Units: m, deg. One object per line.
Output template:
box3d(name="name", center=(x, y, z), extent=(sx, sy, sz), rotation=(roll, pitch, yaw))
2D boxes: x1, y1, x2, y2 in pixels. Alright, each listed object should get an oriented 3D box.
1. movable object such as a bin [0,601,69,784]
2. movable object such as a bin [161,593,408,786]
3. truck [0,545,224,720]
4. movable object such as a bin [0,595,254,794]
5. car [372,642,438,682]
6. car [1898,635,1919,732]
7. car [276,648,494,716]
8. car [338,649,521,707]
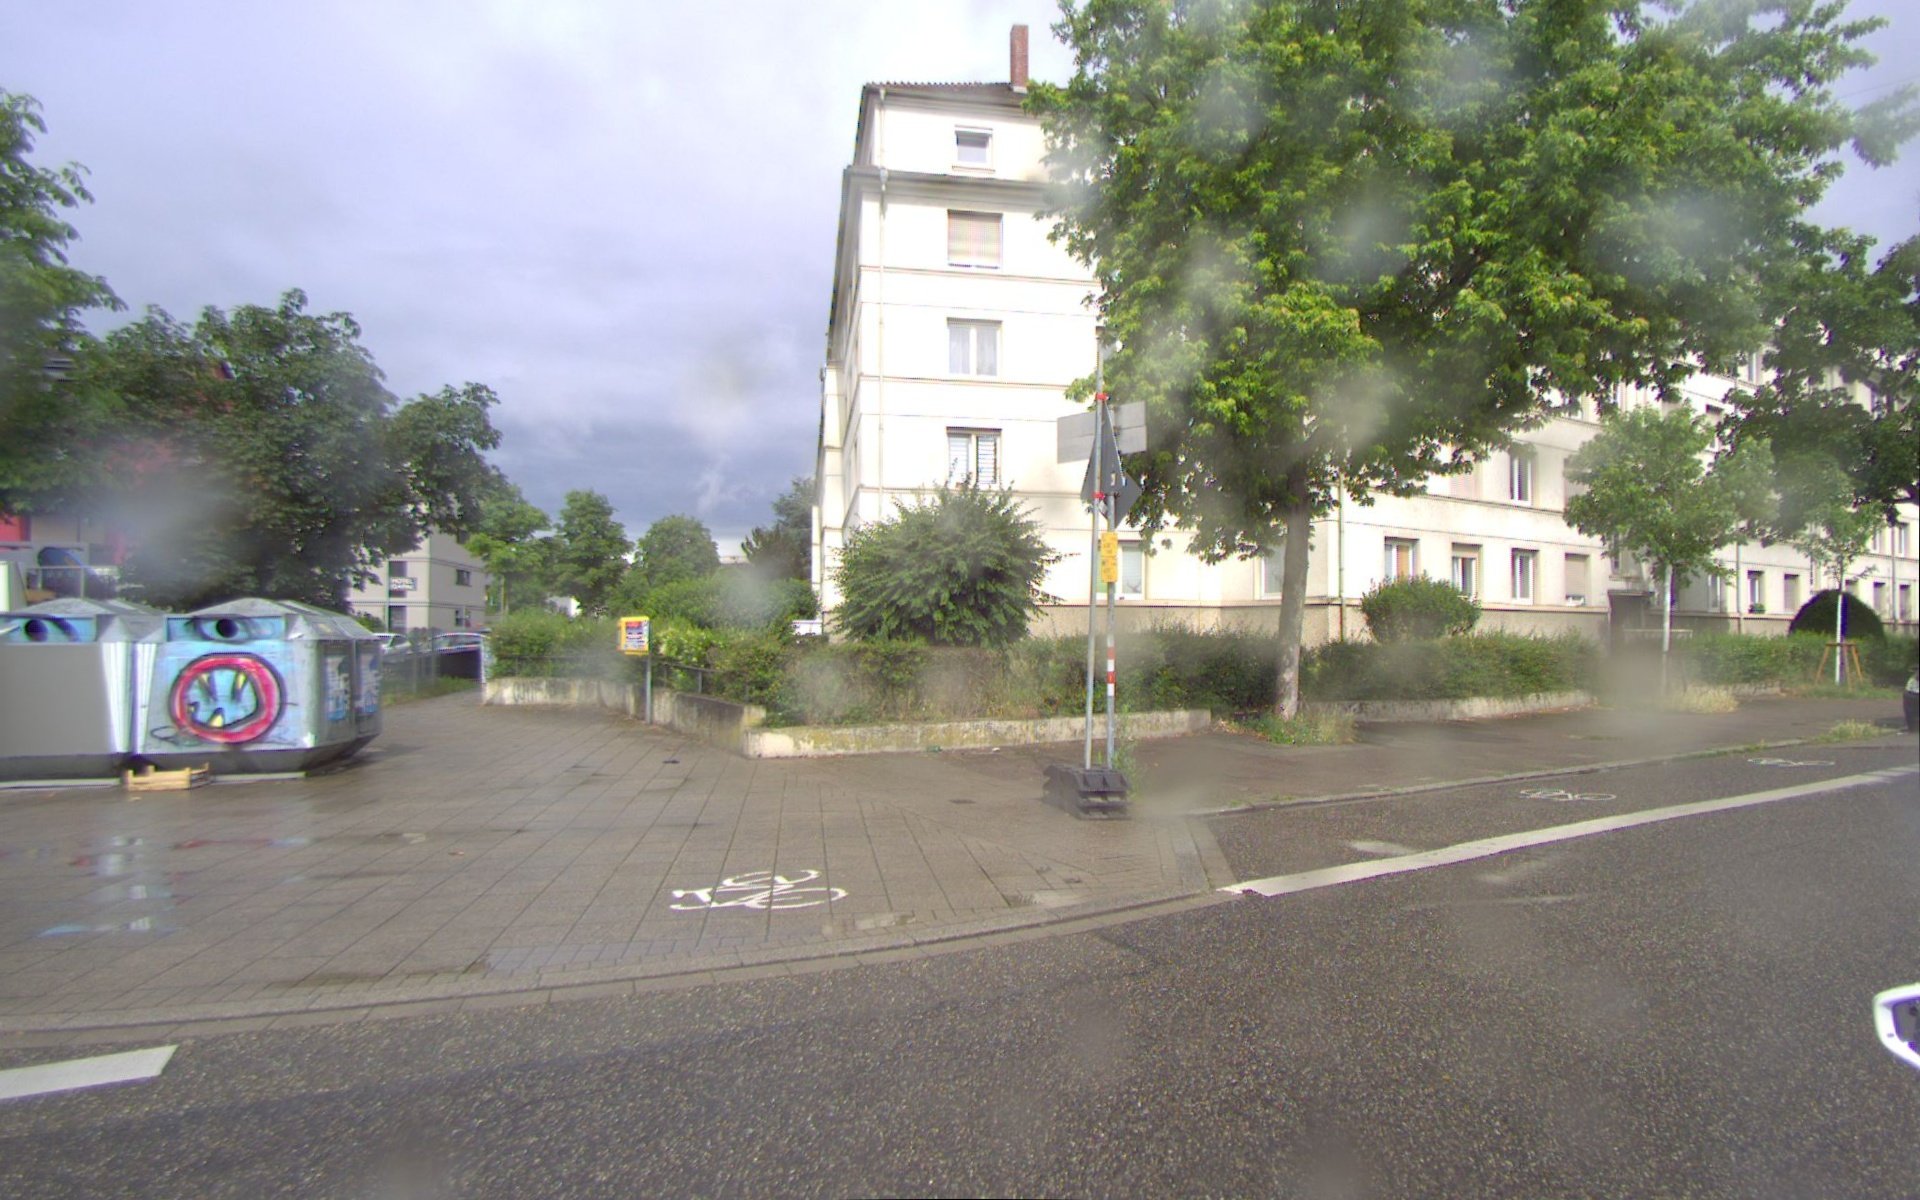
box3d(name="movable object such as a bin", center=(-9.560, 0.853, 9.177), extent=(1.500, 1.678, 1.541), rotation=(0, -2, -9))
box3d(name="movable object such as a bin", center=(-6.415, 0.813, 9.698), extent=(1.432, 1.683, 1.541), rotation=(0, -2, -9))
box3d(name="truck", center=(-20.305, 0.750, 21.495), extent=(3.727, 3.225, 9.821), rotation=(0, -3, -13))
box3d(name="movable object such as a bin", center=(-7.961, 0.845, 9.435), extent=(1.635, 1.696, 1.541), rotation=(0, -2, -9))
box3d(name="car", center=(-23.758, 2.632, 43.129), extent=(1.637, 1.605, 3.499), rotation=(0, -3, -14))
box3d(name="car", center=(17.101, 1.331, 16.451), extent=(4.020, 1.525, 1.577), rotation=(1, -3, -33))
box3d(name="car", center=(-13.346, 1.892, 23.538), extent=(4.047, 1.461, 1.702), rotation=(0, -3, -7))
box3d(name="car", center=(-14.417, 2.109, 27.491), extent=(4.047, 1.461, 1.702), rotation=(0, -3, -7))
